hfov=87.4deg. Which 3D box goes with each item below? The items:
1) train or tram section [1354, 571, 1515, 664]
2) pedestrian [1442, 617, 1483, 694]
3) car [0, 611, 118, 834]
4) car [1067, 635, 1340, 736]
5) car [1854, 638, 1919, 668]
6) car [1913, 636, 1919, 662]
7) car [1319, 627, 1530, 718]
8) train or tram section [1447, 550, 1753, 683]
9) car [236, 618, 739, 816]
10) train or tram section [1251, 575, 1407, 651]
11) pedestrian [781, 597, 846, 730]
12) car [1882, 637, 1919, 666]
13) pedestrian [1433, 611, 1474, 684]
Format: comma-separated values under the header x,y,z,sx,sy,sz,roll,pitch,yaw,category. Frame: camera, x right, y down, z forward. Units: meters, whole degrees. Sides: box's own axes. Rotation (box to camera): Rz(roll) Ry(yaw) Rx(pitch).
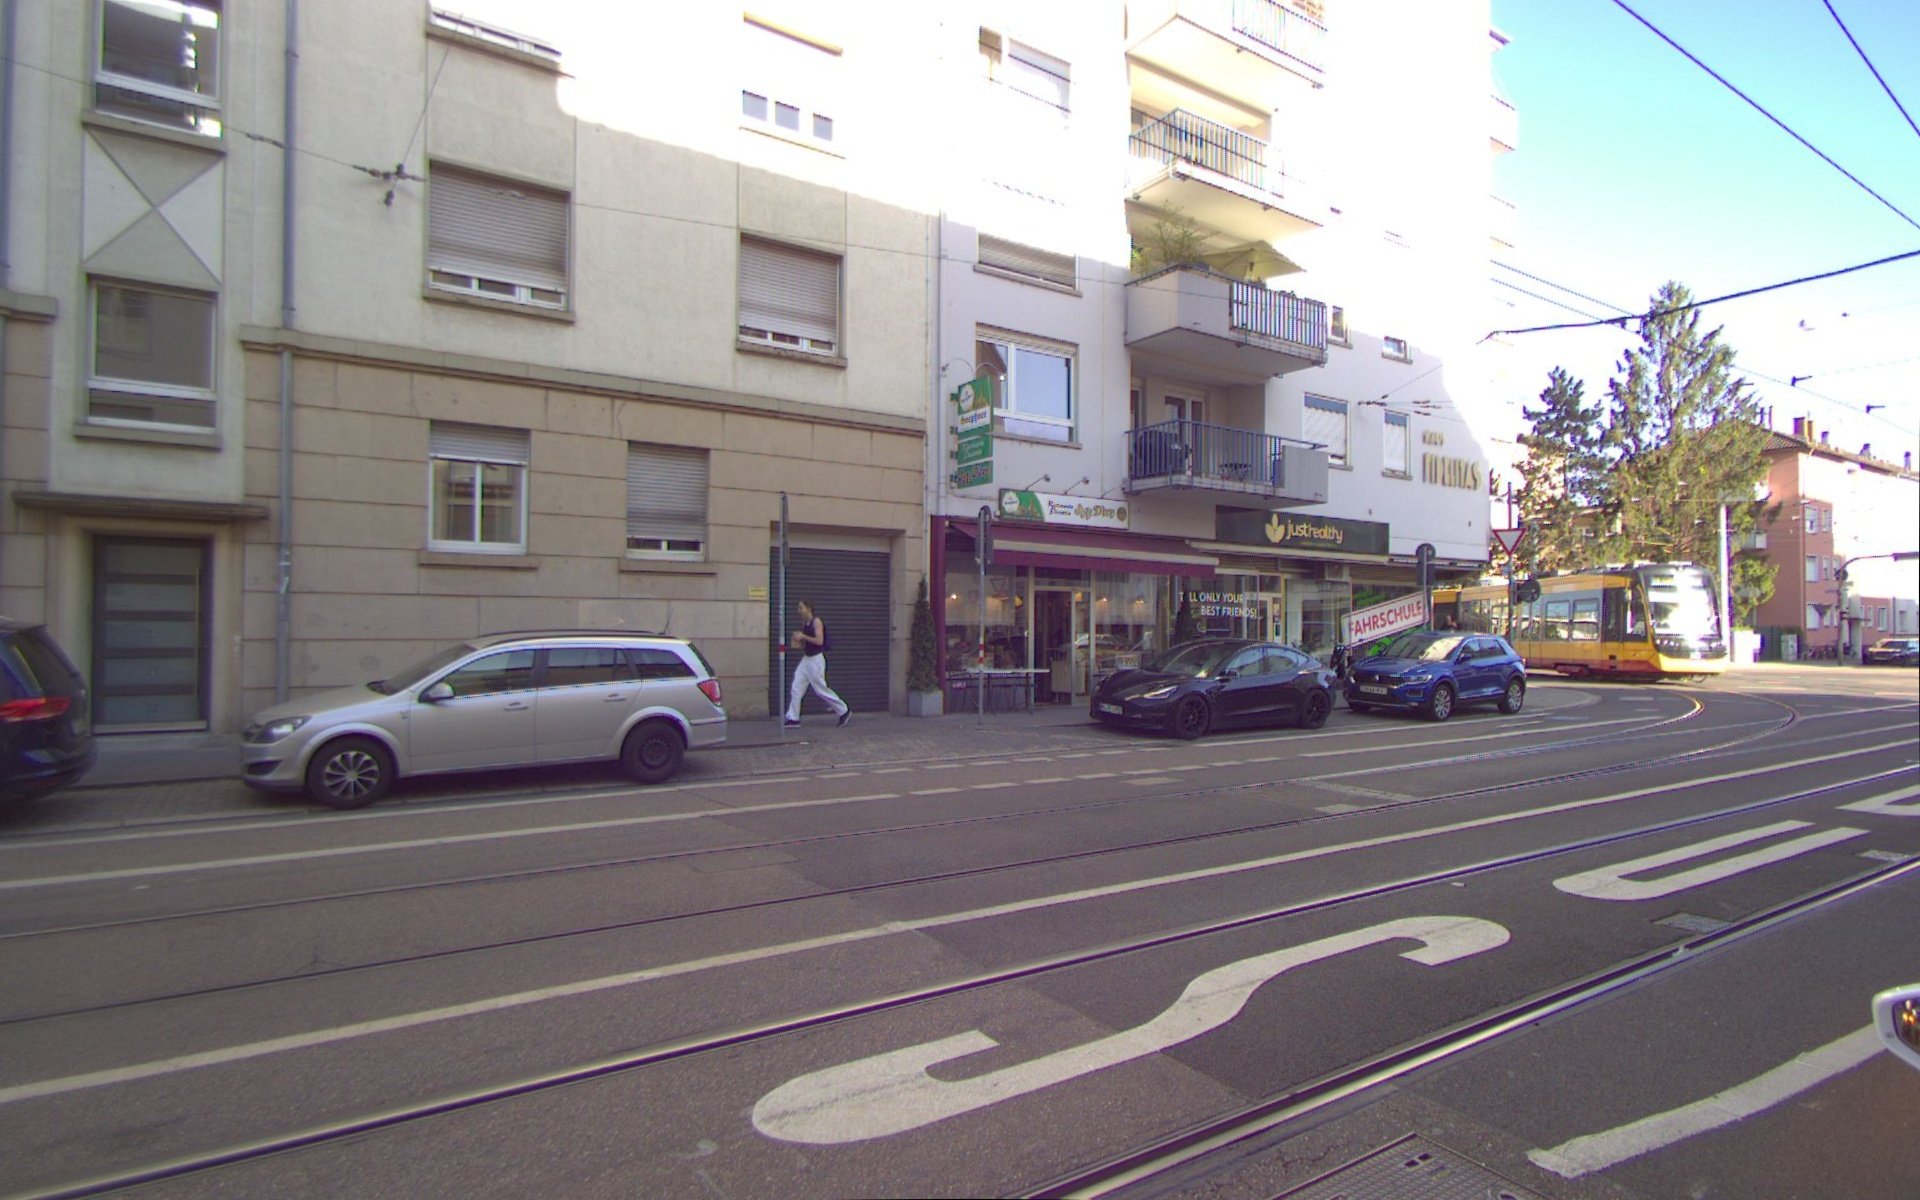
x,y,z,sx,sy,sz,roll,pitch,yaw,category
20.968,0.716,45.179,2.779,3.679,9.083,1,0,-1,train or tram section
12.325,1.352,24.643,0.691,1.829,0.568,2,0,-30,pedestrian
-9.002,0.876,7.259,4.249,1.606,1.893,2,0,-35,car
3.978,1.278,16.141,4.382,1.405,1.810,1,-2,-34,car
49.608,2.827,53.591,3.949,1.440,1.784,2,0,-31,car
58.321,2.960,59.457,4.103,1.531,1.778,2,0,-31,car
8.879,1.298,19.108,4.030,1.552,1.858,1,-2,-34,car
20.831,0.653,34.244,3.010,3.641,12.638,-1,-2,4,train or tram section
-4.696,1.040,10.316,4.319,1.580,1.981,2,0,-34,car
20.379,0.652,56.947,2.701,3.680,14.258,2,0,-3,train or tram section
-2.118,0.899,14.491,0.725,1.857,0.595,2,0,-30,pedestrian
54.117,2.908,56.755,4.250,1.518,1.806,2,0,-30,car
14.035,1.336,28.587,0.688,2.040,0.764,2,0,-35,pedestrian
